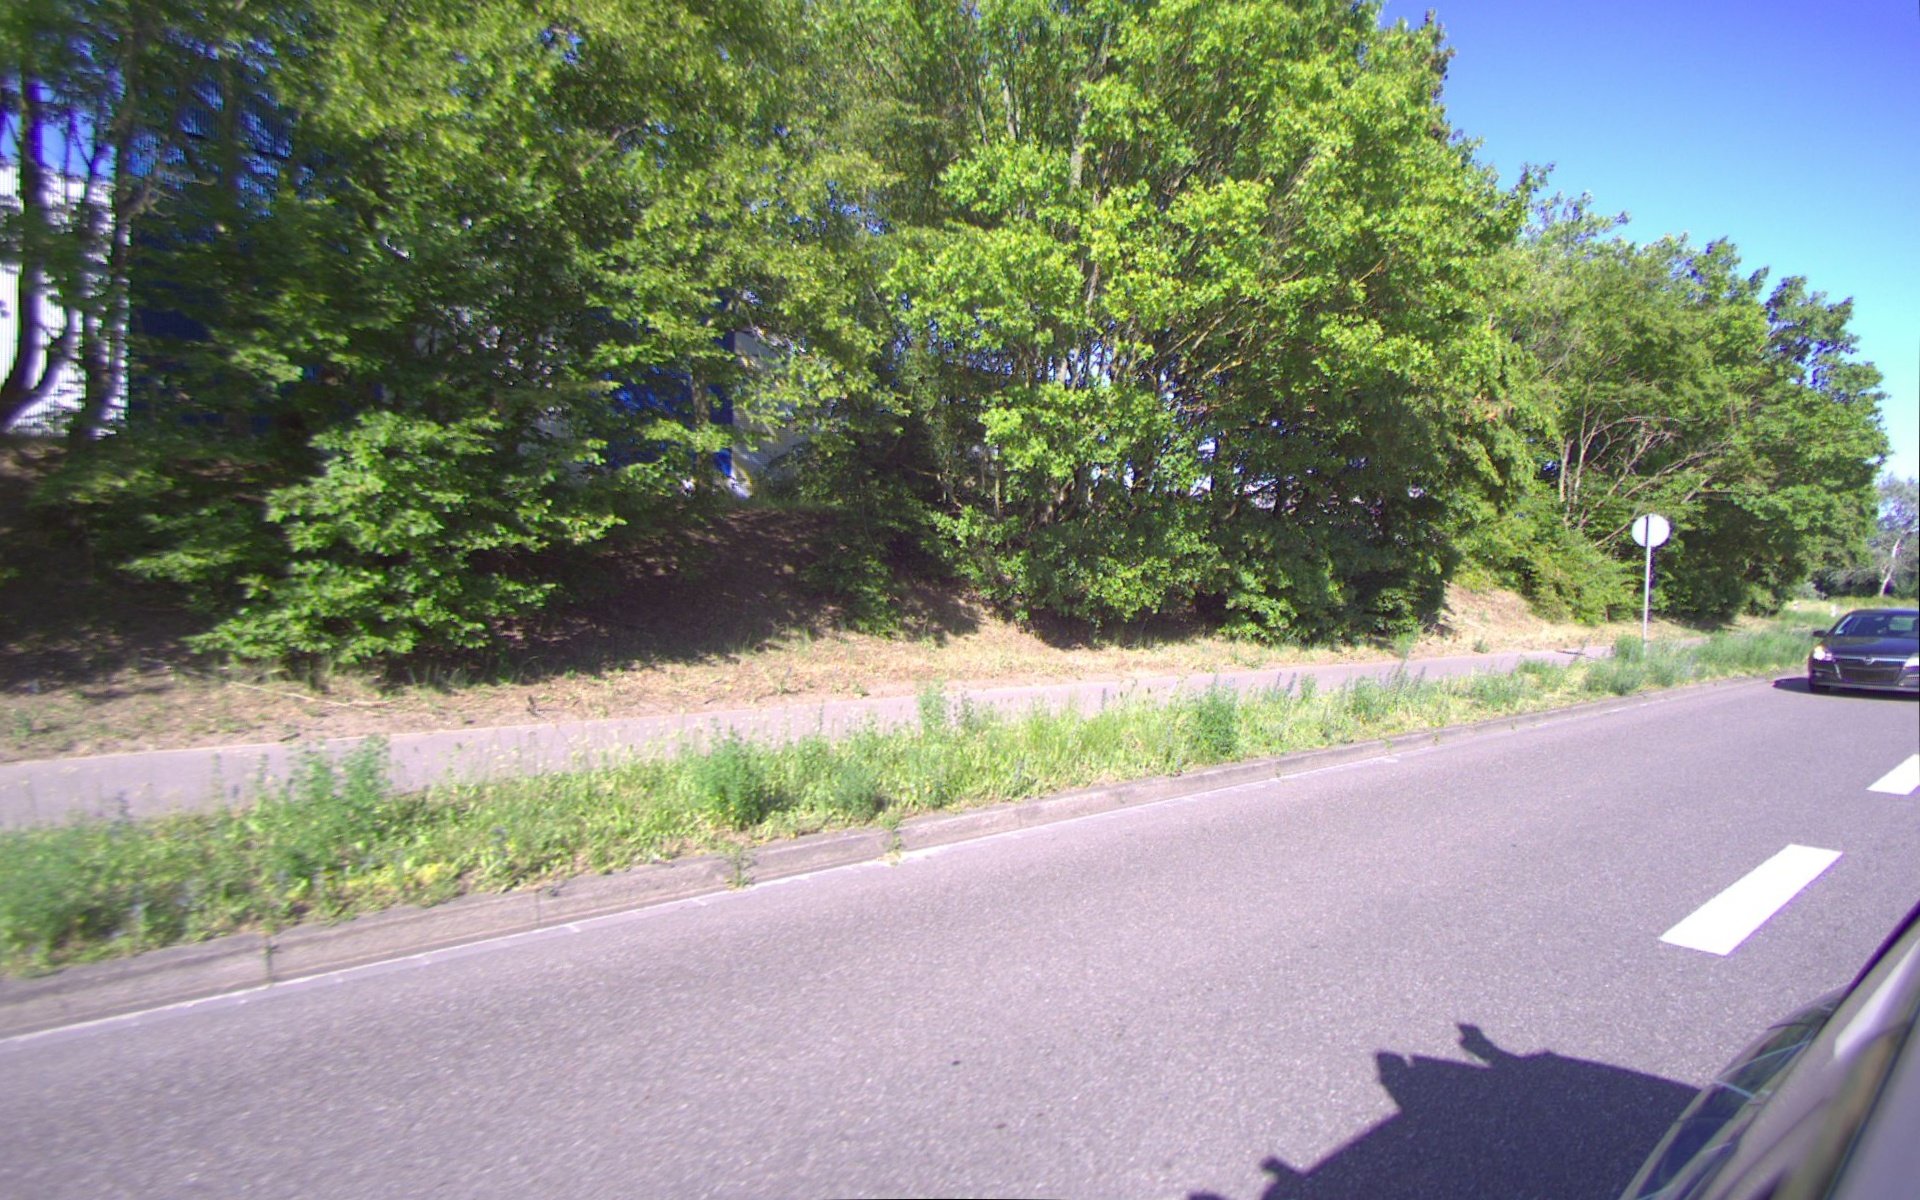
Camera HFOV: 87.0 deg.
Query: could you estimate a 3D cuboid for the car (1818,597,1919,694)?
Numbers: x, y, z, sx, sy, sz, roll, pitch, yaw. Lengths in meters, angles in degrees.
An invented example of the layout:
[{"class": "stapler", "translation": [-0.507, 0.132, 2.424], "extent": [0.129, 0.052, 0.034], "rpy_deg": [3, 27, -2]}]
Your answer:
[{"class": "car", "translation": [16.099, 0.714, 17.139], "extent": [3.888, 1.473, 1.706], "rpy_deg": [0, 1, -39]}]
